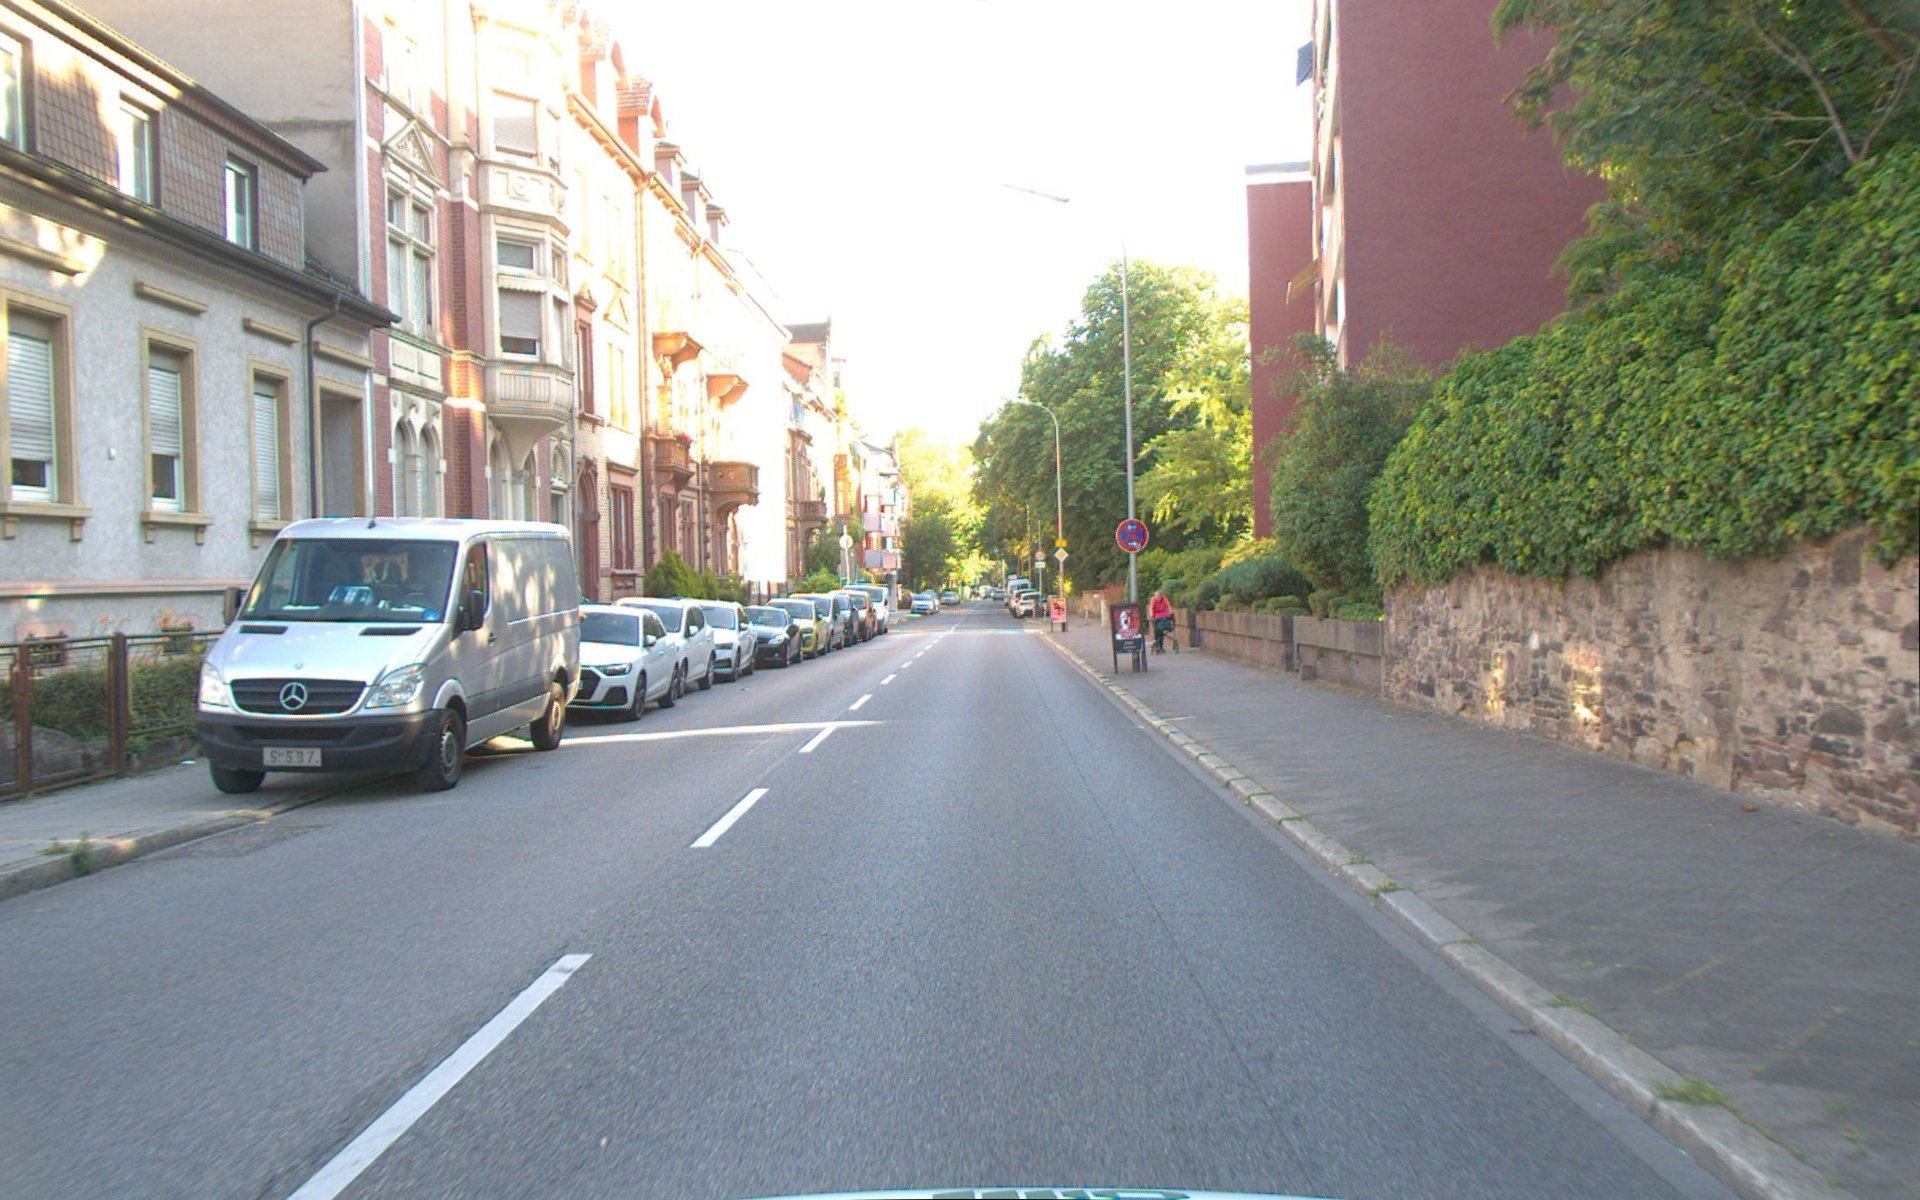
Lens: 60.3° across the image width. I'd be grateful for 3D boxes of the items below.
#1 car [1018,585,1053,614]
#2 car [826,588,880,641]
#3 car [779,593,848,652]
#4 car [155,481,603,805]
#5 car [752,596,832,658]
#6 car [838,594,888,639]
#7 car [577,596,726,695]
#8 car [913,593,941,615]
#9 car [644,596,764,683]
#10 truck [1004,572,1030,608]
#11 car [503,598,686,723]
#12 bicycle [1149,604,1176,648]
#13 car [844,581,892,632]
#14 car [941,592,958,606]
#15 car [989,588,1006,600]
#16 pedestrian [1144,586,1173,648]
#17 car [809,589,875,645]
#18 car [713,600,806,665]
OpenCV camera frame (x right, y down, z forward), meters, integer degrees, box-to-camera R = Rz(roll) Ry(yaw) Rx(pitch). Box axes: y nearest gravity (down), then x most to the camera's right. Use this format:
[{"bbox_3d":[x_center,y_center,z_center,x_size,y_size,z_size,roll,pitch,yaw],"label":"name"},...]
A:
[{"bbox_3d":[4.439,-0.021,97.494,1.952,1.544,4.002,-2,1,2],"label":"car"},{"bbox_3d":[-3.743,0.479,58.242,1.667,1.769,3.857,0,0,0],"label":"car"},{"bbox_3d":[-4.214,0.628,48.043,1.667,1.611,3.635,0,0,0],"label":"car"},{"bbox_3d":[-5.137,0.301,15.780,2.025,2.503,6.015,0,1,1],"label":"car"},{"bbox_3d":[-4.326,0.696,43.032,1.667,1.529,4.072,0,-1,0],"label":"car"},{"bbox_3d":[-3.704,0.615,63.502,1.667,1.648,4.118,0,1,0],"label":"car"},{"bbox_3d":[-5.109,0.708,27.891,1.667,1.529,4.021,0,1,1],"label":"car"},{"bbox_3d":[-2.562,0.288,130.076,1.952,1.517,4.471,-2,1,1],"label":"car"},{"bbox_3d":[-4.982,0.728,32.724,1.667,1.563,4.549,0,1,0],"label":"car"},{"bbox_3d":[4.745,-0.859,138.769,1.952,2.947,4.471,-2,1,1],"label":"truck"},{"bbox_3d":[-4.897,0.759,22.656,1.667,1.529,3.823,0,1,0],"label":"car"},{"bbox_3d":[4.618,0.596,37.749,0.555,0.987,0.492,0,1,-2],"label":"bicycle"},{"bbox_3d":[-3.793,0.254,68.849,1.756,2.045,4.697,0,0,0],"label":"car"},{"bbox_3d":[-1.246,-0.131,196.814,1.952,1.517,4.471,-2,1,1],"label":"car"},{"bbox_3d":[5.192,-0.796,229.957,1.953,1.517,4.469,-2,1,-2],"label":"car"},{"bbox_3d":[4.597,0.386,38.342,0.585,1.427,0.668,0,1,-1],"label":"pedestrian"},{"bbox_3d":[-3.731,0.508,53.092,1.667,1.737,4.441,0,1,2],"label":"car"},{"bbox_3d":[-4.549,0.707,37.956,1.667,1.390,3.859,0,1,0],"label":"car"}]
